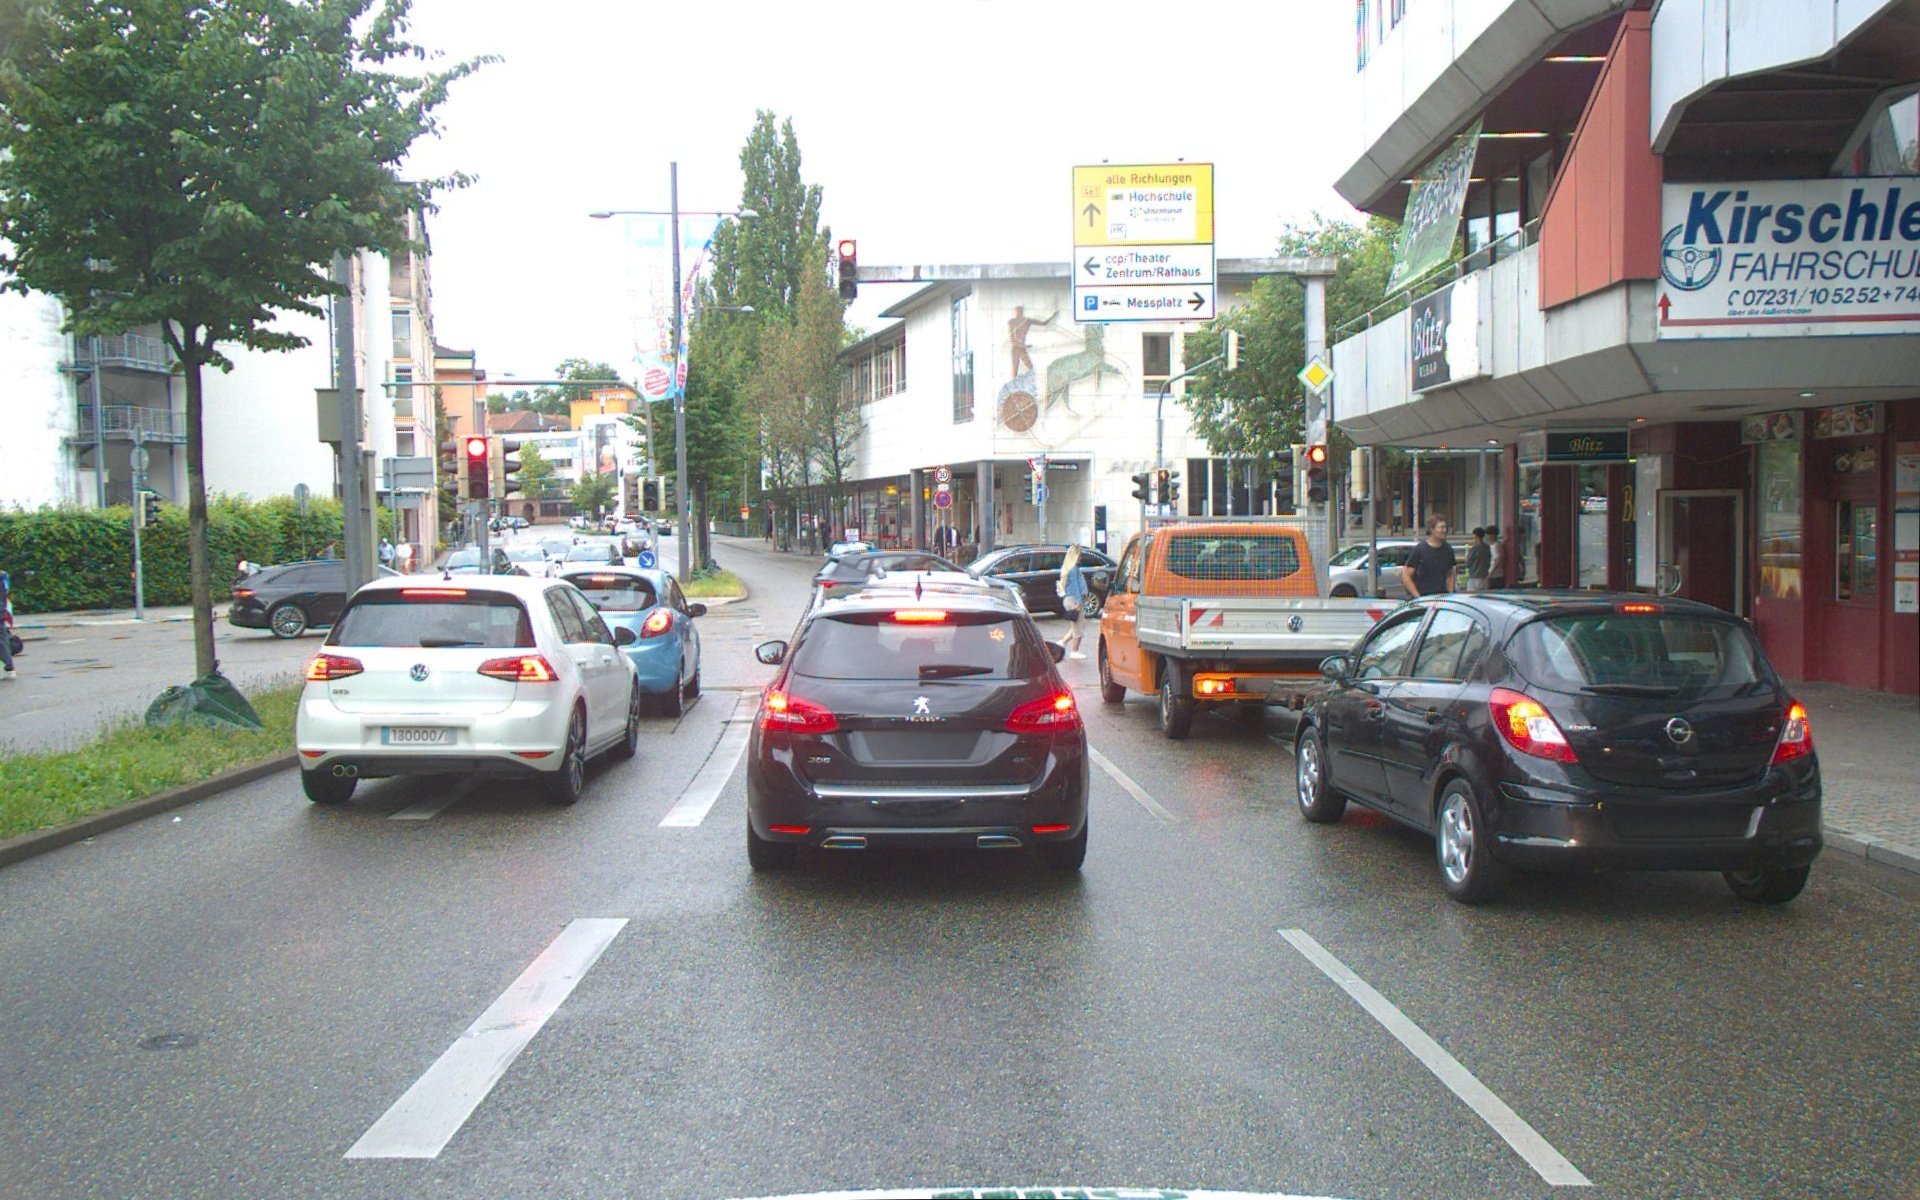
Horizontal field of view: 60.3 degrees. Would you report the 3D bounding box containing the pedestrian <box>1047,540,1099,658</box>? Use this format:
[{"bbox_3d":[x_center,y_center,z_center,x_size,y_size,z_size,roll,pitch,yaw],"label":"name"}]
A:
[{"bbox_3d":[1.665,-0.006,24.472,0.733,1.710,0.709,1,-1,1],"label":"pedestrian"}]

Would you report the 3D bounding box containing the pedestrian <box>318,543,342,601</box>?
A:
[{"bbox_3d":[-19.695,-0.863,51.689,0.528,1.778,0.564,1,-1,-6],"label":"pedestrian"}]

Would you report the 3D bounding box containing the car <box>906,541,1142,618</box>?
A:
[{"bbox_3d":[1.302,-0.429,34.348,4.639,1.512,1.634,0,1,-12],"label":"car"}]

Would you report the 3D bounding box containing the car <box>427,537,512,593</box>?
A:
[{"bbox_3d":[-13.880,-1.006,46.999,1.543,1.512,3.607,1,2,-4],"label":"car"}]

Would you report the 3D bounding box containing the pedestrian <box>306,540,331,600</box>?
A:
[{"bbox_3d":[-19.405,-0.901,50.033,0.529,1.778,0.746,1,-1,-9],"label":"pedestrian"}]

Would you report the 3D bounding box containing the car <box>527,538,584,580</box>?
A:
[{"bbox_3d":[-14.950,-1.521,61.279,1.602,1.512,3.605,1,2,-7],"label":"car"}]

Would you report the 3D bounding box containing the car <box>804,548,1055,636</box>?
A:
[{"bbox_3d":[-0.592,-0.188,30.522,4.410,1.480,1.789,-1,3,-10],"label":"car"}]

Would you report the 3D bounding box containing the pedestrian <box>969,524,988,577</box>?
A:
[{"bbox_3d":[0.673,-1.815,61.171,0.623,1.930,0.734,1,-1,5],"label":"pedestrian"}]

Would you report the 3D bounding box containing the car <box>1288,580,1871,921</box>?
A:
[{"bbox_3d":[3.106,0.643,9.175,1.584,1.454,3.839,1,1,-4],"label":"car"}]

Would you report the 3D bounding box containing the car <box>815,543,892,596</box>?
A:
[{"bbox_3d":[-3.394,-0.914,51.987,1.695,1.516,4.717,1,-1,-13],"label":"car"}]

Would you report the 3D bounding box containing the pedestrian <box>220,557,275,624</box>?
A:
[{"bbox_3d":[-17.394,-0.216,40.391,1.041,1.606,0.683,1,-1,-5],"label":"pedestrian"}]

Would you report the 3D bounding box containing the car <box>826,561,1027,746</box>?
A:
[{"bbox_3d":[-0.313,0.408,15.750,1.662,1.512,3.793,1,2,-1],"label":"car"}]

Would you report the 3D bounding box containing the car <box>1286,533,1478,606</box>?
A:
[{"bbox_3d":[9.340,-0.646,36.652,3.828,1.512,1.618,1,-1,-13],"label":"car"}]

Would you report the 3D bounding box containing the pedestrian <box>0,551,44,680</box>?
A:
[{"bbox_3d":[-13.819,0.219,23.778,0.905,1.815,0.708,1,-1,-6],"label":"pedestrian"}]

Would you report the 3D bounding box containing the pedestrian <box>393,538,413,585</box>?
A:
[{"bbox_3d":[-21.220,-1.458,62.995,0.584,1.758,0.655,1,-1,-9],"label":"pedestrian"}]

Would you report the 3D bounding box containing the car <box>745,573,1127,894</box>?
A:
[{"bbox_3d":[-0.195,0.586,9.510,1.742,1.454,3.840,1,1,-3],"label":"car"}]

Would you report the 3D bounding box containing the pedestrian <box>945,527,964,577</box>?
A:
[{"bbox_3d":[-0.200,-1.728,60.317,0.623,1.788,0.734,1,-1,5],"label":"pedestrian"}]

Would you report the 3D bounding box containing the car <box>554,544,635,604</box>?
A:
[{"bbox_3d":[-10.591,-0.729,48.139,1.710,1.607,3.996,1,-1,-4],"label":"car"}]

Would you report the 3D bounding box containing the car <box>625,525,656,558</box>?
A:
[{"bbox_3d":[-18.282,-3.327,94.636,1.713,1.669,3.989,1,-1,-11],"label":"car"}]

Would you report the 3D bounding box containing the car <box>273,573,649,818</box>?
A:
[{"bbox_3d":[-3.363,0.553,11.893,1.742,1.454,3.839,1,1,-4],"label":"car"}]

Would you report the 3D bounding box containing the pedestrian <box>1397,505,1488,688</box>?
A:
[{"bbox_3d":[5.124,-0.036,17.601,0.726,1.847,0.774,-4,-1,11],"label":"pedestrian"}]

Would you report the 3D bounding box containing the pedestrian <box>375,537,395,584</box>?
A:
[{"bbox_3d":[-21.809,-1.504,62.747,0.584,1.758,0.655,1,-1,-9],"label":"pedestrian"}]

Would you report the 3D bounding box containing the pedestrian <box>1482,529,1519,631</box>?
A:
[{"bbox_3d":[8.894,-0.323,27.230,0.388,1.668,0.504,-1,-1,0],"label":"pedestrian"}]

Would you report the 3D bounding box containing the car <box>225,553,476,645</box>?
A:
[{"bbox_3d":[-11.925,-0.072,32.481,4.431,1.479,1.781,-4,3,-23],"label":"car"}]

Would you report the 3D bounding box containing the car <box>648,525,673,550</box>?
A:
[{"bbox_3d":[-26.617,-5.547,147.067,1.679,1.970,3.980,1,-1,-18],"label":"car"}]

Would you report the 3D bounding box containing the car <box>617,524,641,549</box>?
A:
[{"bbox_3d":[-29.265,-5.593,146.171,1.679,1.915,3.980,1,-1,-18],"label":"car"}]

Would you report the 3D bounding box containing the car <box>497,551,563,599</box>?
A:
[{"bbox_3d":[-14.209,-0.855,54.774,1.602,1.512,3.605,1,2,-7],"label":"car"}]

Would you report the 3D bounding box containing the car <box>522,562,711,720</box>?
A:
[{"bbox_3d":[-3.609,0.362,17.898,1.601,1.512,3.606,1,2,-6],"label":"car"}]

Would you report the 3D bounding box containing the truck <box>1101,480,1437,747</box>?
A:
[{"bbox_3d":[2.800,0.051,16.350,2.133,2.210,5.018,1,2,-3],"label":"truck"}]

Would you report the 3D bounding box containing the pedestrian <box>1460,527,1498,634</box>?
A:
[{"bbox_3d":[8.435,-0.315,26.887,0.417,1.712,0.450,-1,-1,-2],"label":"pedestrian"}]
